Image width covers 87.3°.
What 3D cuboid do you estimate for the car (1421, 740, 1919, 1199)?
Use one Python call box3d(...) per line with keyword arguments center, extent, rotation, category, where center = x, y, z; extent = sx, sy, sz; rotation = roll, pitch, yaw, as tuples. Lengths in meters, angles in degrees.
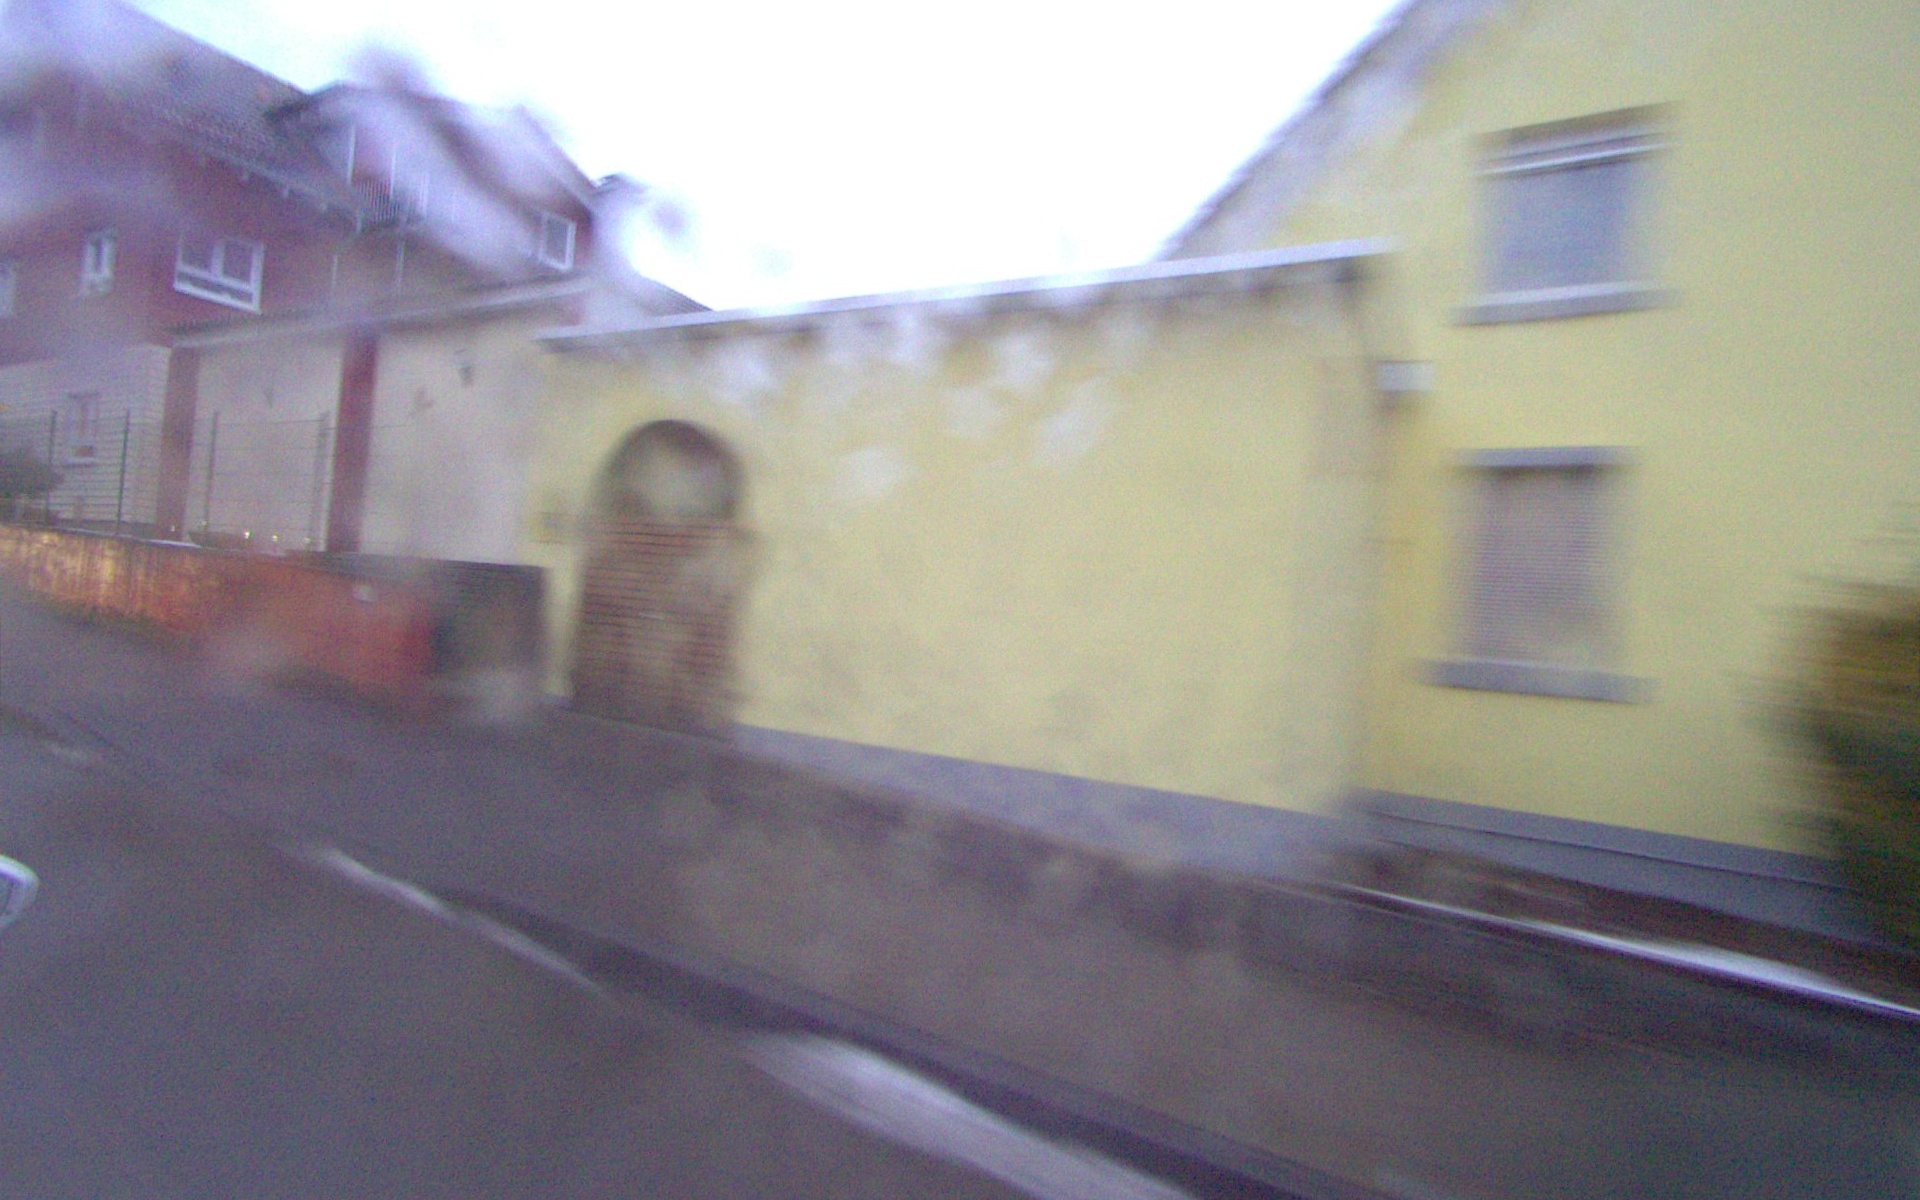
box3d(center=(2.967, 1.234, 0.740), extent=(4.713, 1.448, 1.731), rotation=(6, -2, 26), category="car")
